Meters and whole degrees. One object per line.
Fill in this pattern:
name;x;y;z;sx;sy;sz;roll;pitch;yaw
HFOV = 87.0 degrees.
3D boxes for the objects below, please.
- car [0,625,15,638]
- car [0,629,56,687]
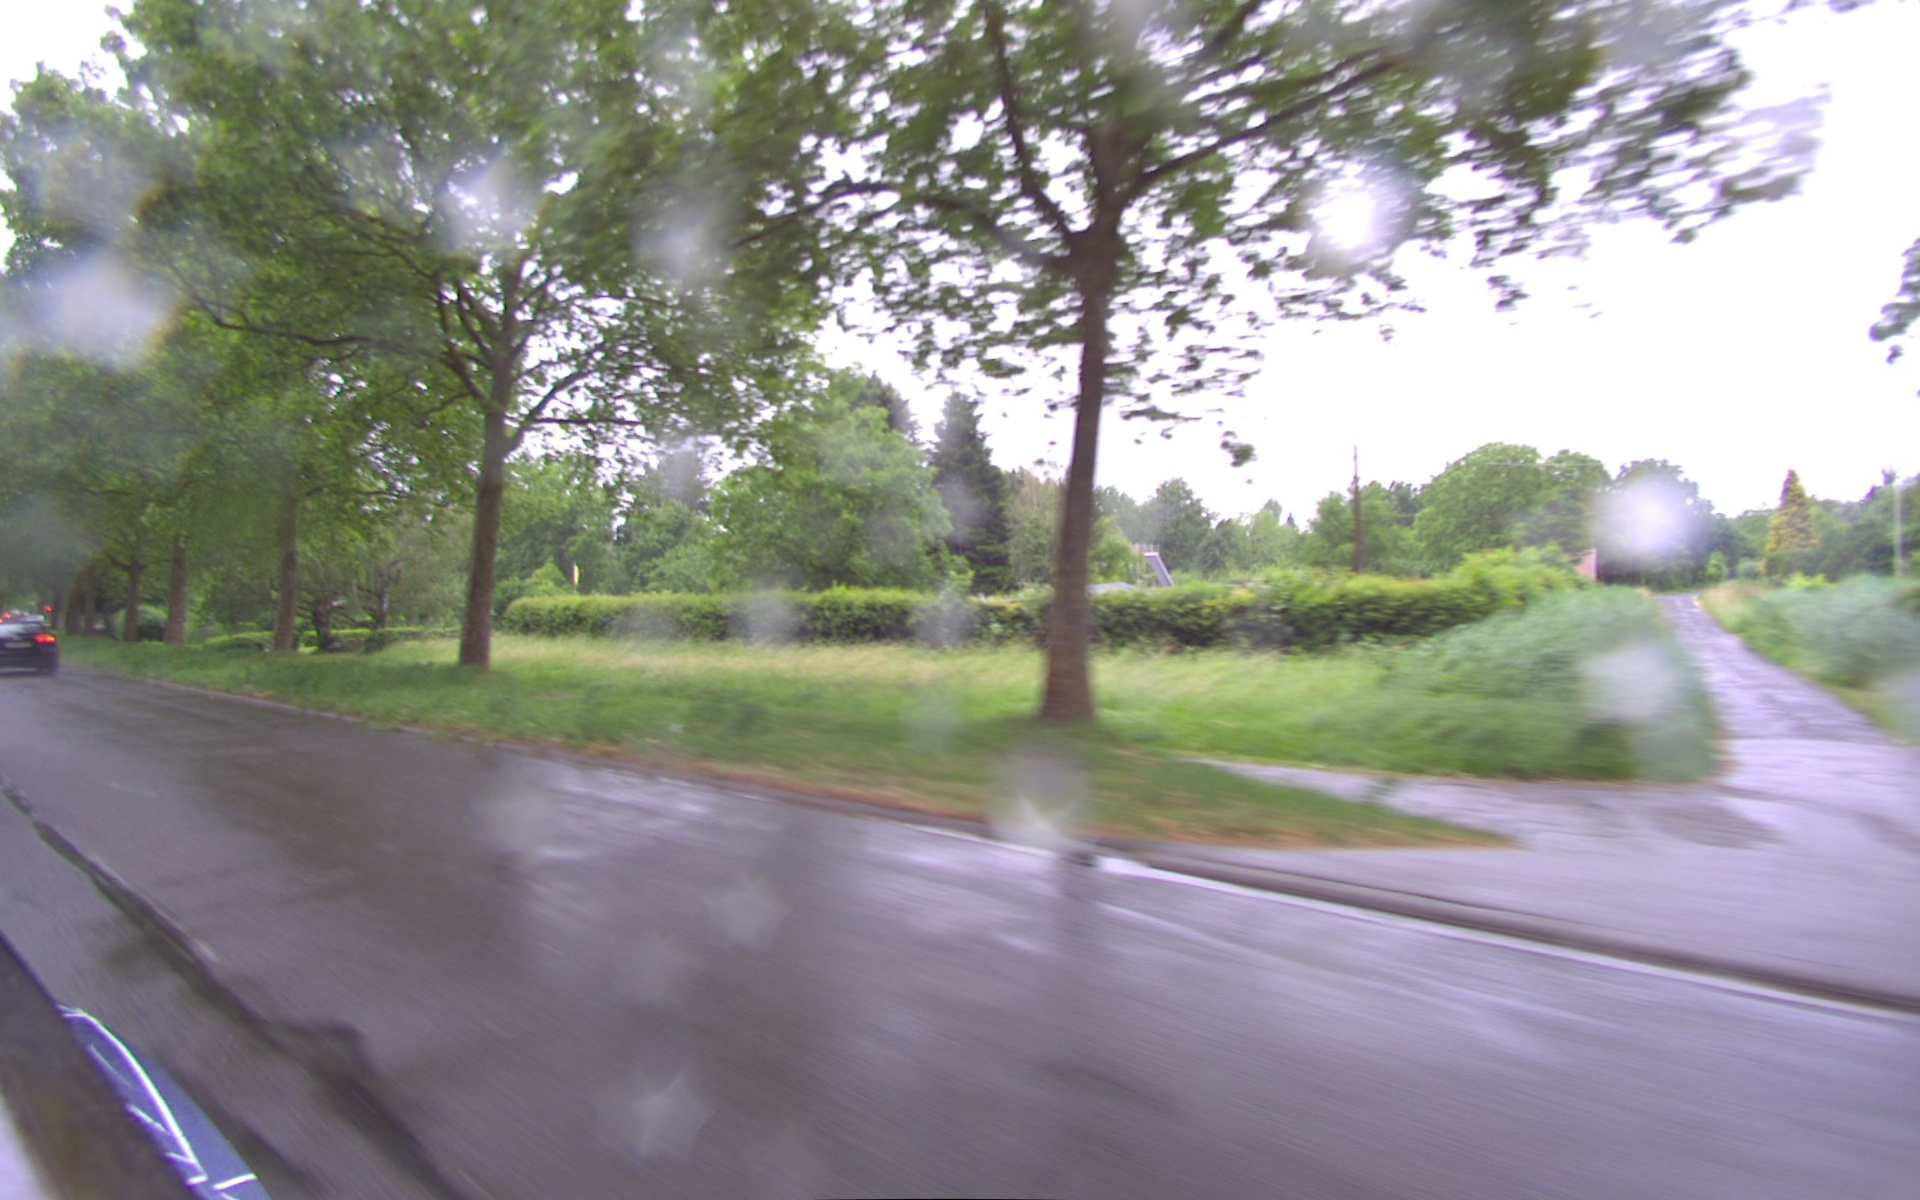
car;-130.908;4.364;138.722;5.018;1.763;1.841;-2;-2;45
car;-25.571;1.514;26.921;4.222;1.434;1.714;-2;-2;40
